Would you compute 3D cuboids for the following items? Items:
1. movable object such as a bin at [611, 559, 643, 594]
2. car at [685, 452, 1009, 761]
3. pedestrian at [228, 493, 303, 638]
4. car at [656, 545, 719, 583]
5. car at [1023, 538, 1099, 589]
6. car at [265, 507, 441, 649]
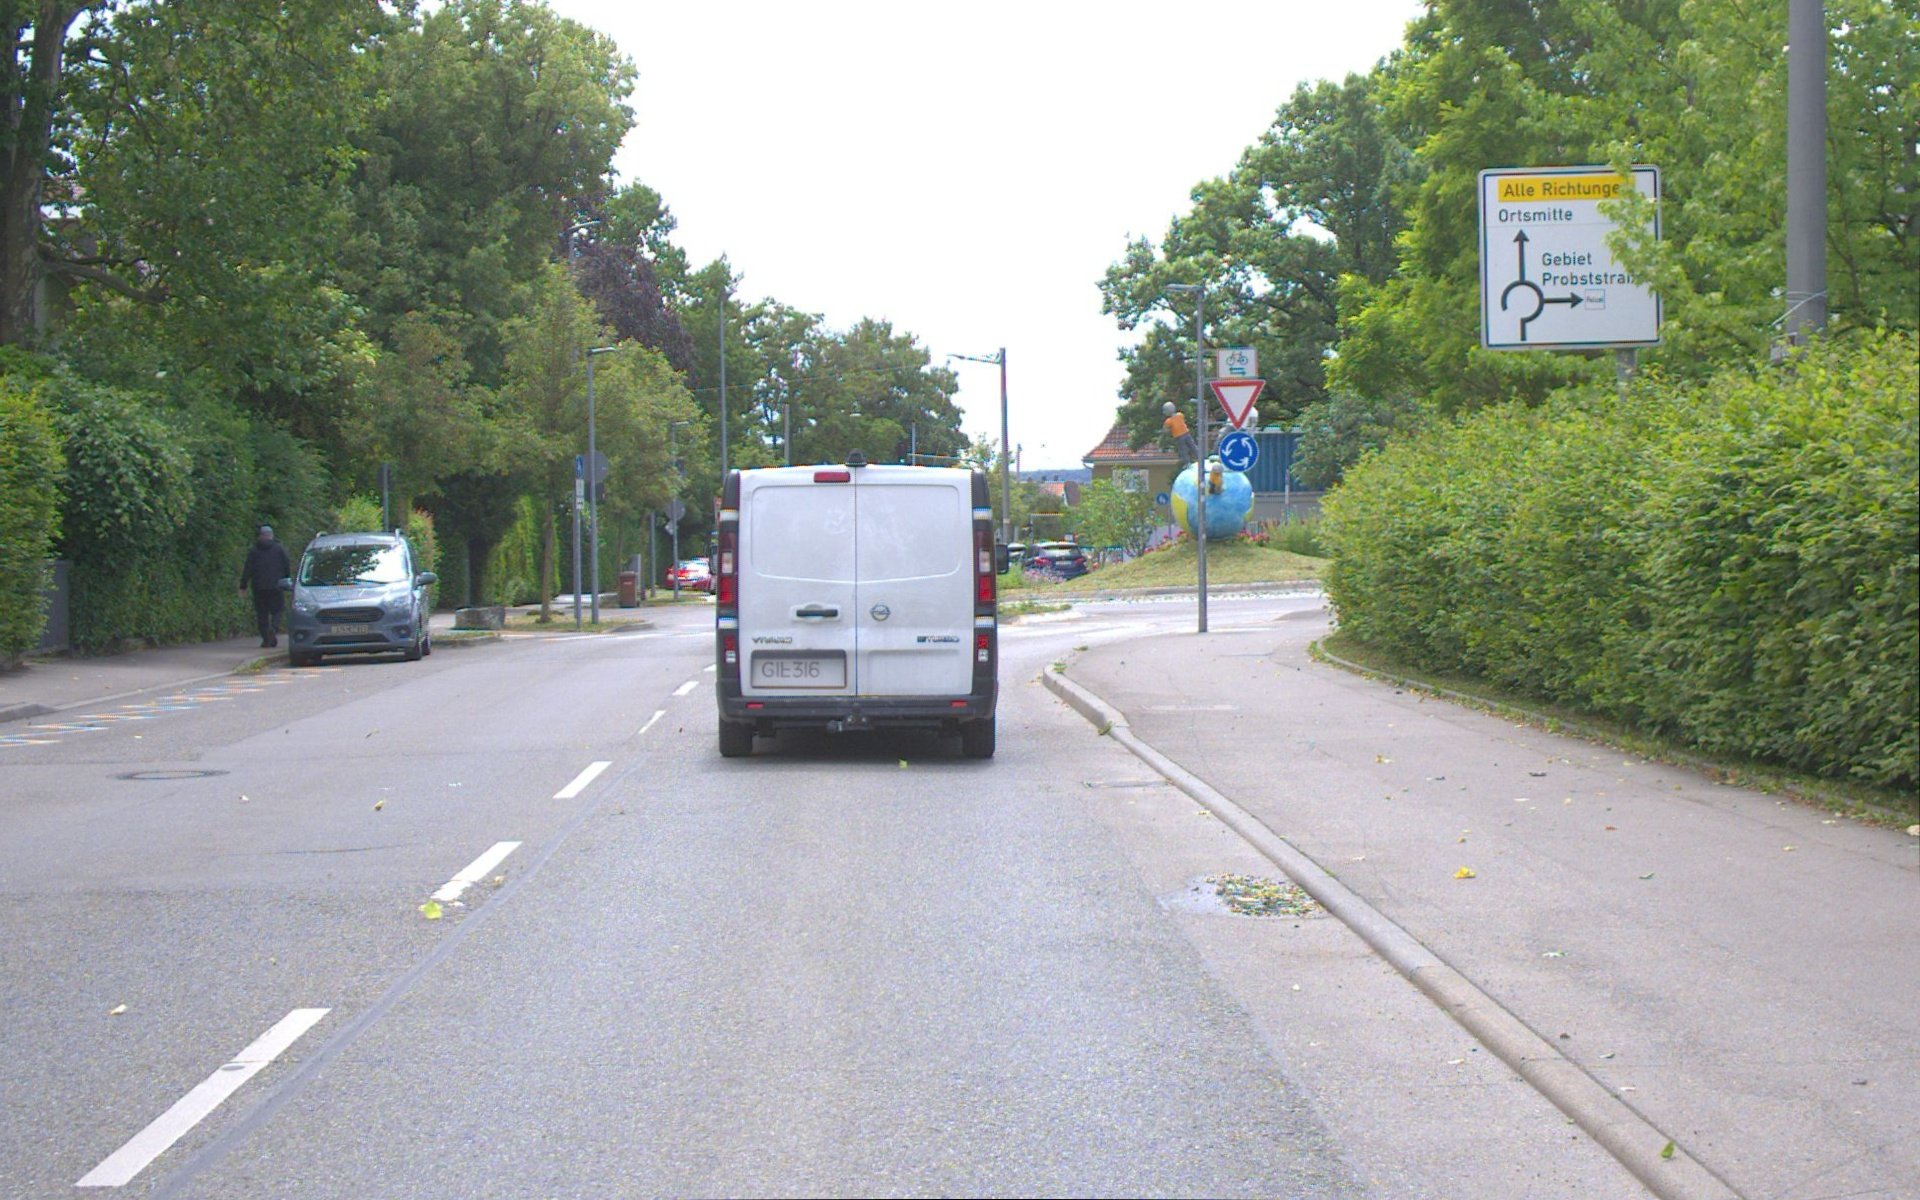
[{"bbox_3d":[-8.561,-0.611,88.319,0.630,0.860,0.640,-2,1,10],"label":"movable object such as a bin"},{"bbox_3d":[-0.741,-0.027,24.453,2.034,1.938,4.994,1,2,0],"label":"car"},{"bbox_3d":[-9.894,-0.496,49.005,0.871,2.007,1.041,-2,1,-5],"label":"pedestrian"},{"bbox_3d":[-10.775,-1.433,135.682,2.062,1.381,4.049,-1,2,-10],"label":"car"},{"bbox_3d":[3.206,-1.174,109.652,1.932,1.532,3.926,-1,2,-6],"label":"car"},{"bbox_3d":[-8.087,-0.337,46.133,2.131,1.766,4.466,1,2,-8],"label":"car"}]
